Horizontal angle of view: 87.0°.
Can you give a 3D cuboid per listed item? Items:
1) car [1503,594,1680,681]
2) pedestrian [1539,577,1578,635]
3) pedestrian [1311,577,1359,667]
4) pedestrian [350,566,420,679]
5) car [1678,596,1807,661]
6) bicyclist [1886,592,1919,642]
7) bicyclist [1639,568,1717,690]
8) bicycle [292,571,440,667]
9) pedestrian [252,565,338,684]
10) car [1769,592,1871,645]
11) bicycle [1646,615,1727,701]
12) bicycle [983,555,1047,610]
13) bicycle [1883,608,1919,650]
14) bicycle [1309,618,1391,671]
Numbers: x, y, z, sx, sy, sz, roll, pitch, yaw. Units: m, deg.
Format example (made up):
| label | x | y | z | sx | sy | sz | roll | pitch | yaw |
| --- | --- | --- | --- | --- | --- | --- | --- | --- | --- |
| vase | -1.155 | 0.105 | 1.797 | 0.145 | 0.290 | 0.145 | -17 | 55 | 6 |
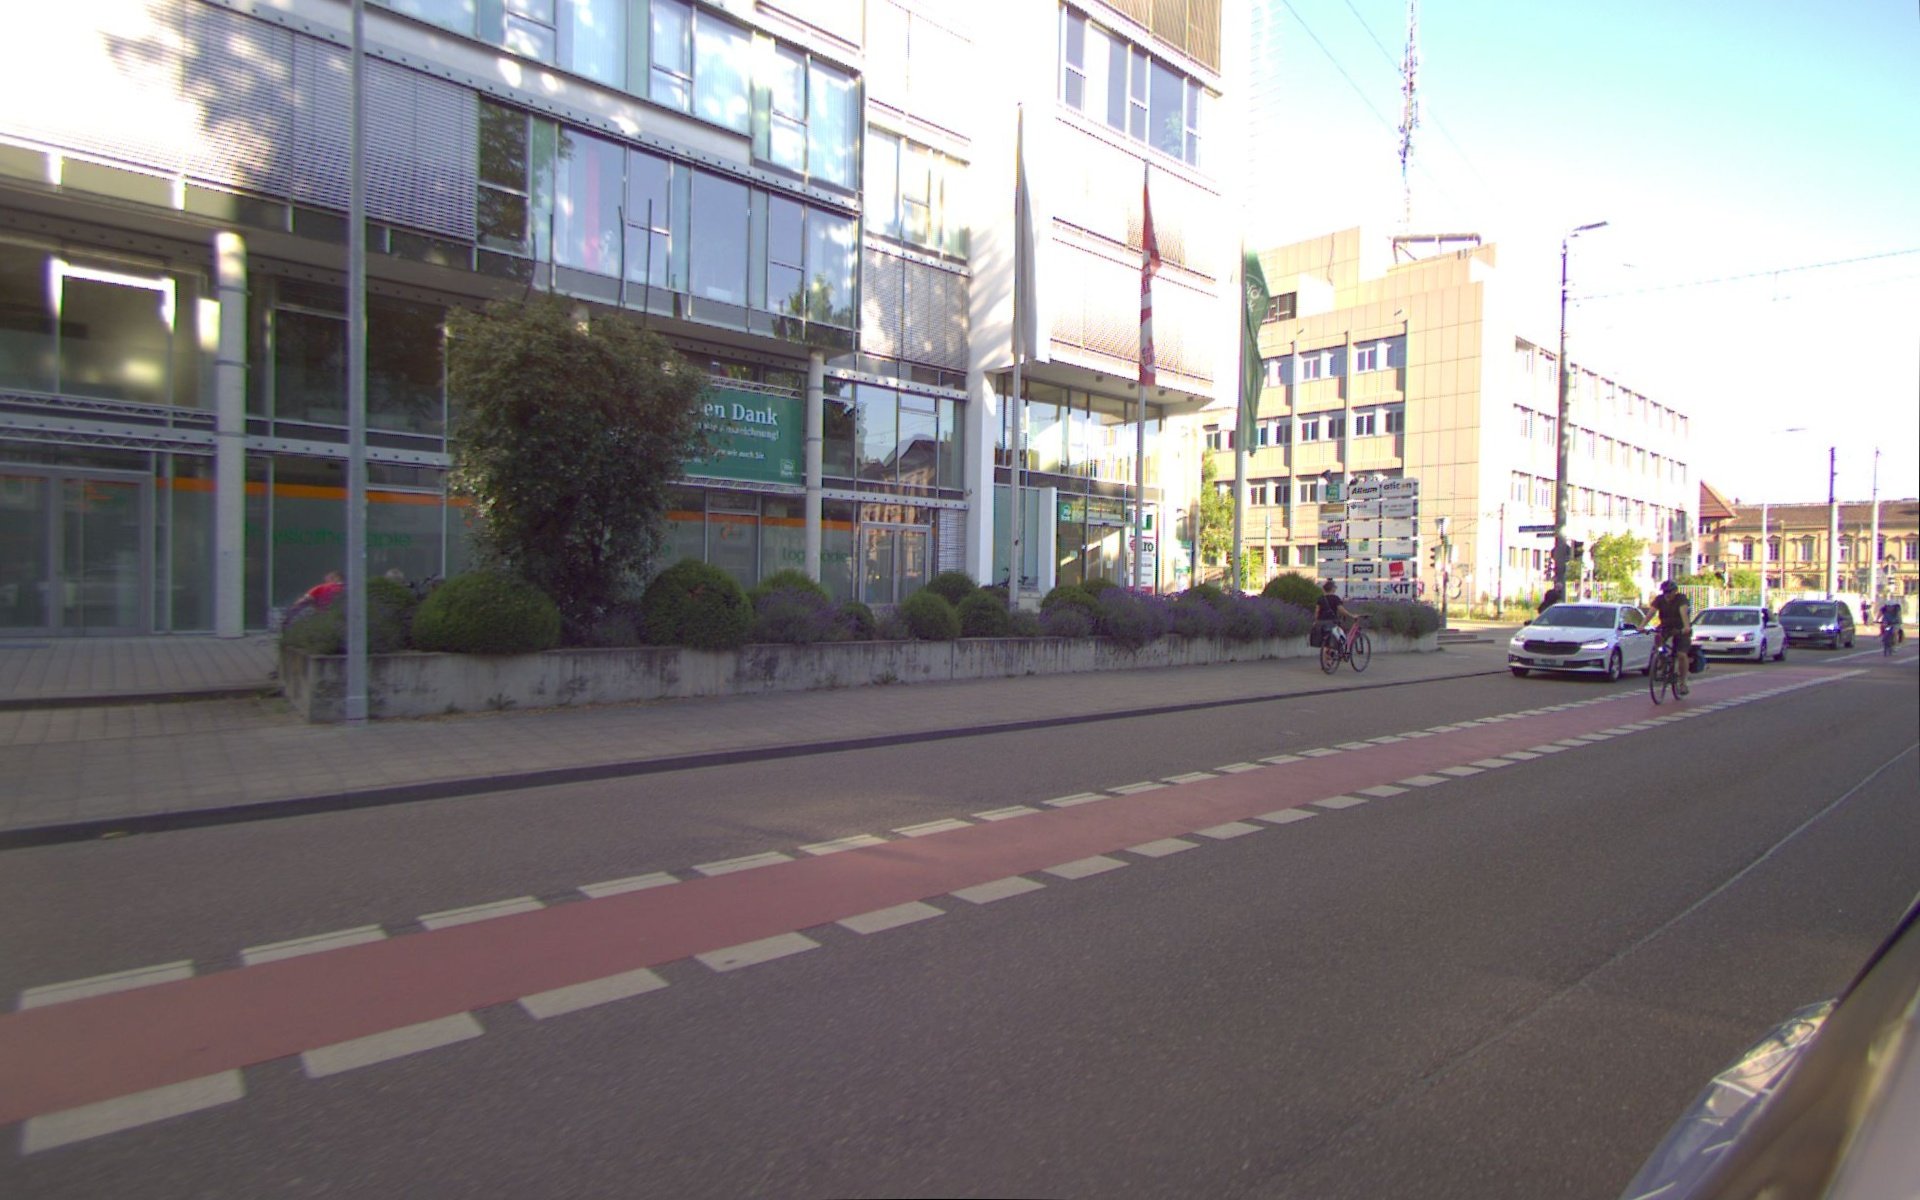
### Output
| label | x | y | z | sx | sy | sz | roll | pitch | yaw |
| --- | --- | --- | --- | --- | --- | --- | --- | --- | --- |
| car | 12.225 | 0.647 | 19.502 | 3.951 | 1.437 | 1.785 | 0 | 2 | -41 |
| pedestrian | 17.146 | 0.176 | 29.002 | 0.652 | 1.601 | 0.693 | 1 | 3 | -39 |
| pedestrian | 6.932 | 0.390 | 18.691 | 0.579 | 1.601 | 0.527 | 1 | 3 | -39 |
| pedestrian | -6.854 | 0.248 | 12.064 | 0.535 | 1.288 | 0.784 | 0 | 1 | -44 |
| car | 20.079 | 0.678 | 25.932 | 3.797 | 1.482 | 1.672 | 0 | 2 | -38 |
| bicyclist | 27.229 | 0.483 | 29.176 | 0.852 | 1.397 | 0.685 | 0 | 1 | -41 |
| bicyclist | 10.483 | 0.404 | 14.776 | 0.702 | 1.709 | 0.751 | 1 | 1 | -43 |
| bicycle | -7.687 | 0.228 | 13.135 | 1.583 | 1.176 | 0.534 | 0 | 1 | -40 |
| pedestrian | -7.536 | 0.255 | 11.464 | 0.682 | 1.288 | 0.751 | 0 | 1 | -44 |
| car | 28.778 | 0.574 | 33.829 | 3.930 | 1.616 | 1.997 | 0 | 1 | -41 |
| bicycle | 10.672 | 0.809 | 14.842 | 2.091 | 1.135 | 0.550 | 0 | 2 | -43 |
| bicycle | 1.472 | -0.491 | 27.766 | 0.741 | 1.445 | 2.435 | 1 | 1 | -22 |
| bicycle | 27.239 | 0.812 | 29.196 | 1.841 | 1.138 | 0.666 | 0 | 1 | -41 |
| bicycle | 7.108 | 0.781 | 18.405 | 1.869 | 0.856 | 0.499 | 0 | 5 | -40 |
